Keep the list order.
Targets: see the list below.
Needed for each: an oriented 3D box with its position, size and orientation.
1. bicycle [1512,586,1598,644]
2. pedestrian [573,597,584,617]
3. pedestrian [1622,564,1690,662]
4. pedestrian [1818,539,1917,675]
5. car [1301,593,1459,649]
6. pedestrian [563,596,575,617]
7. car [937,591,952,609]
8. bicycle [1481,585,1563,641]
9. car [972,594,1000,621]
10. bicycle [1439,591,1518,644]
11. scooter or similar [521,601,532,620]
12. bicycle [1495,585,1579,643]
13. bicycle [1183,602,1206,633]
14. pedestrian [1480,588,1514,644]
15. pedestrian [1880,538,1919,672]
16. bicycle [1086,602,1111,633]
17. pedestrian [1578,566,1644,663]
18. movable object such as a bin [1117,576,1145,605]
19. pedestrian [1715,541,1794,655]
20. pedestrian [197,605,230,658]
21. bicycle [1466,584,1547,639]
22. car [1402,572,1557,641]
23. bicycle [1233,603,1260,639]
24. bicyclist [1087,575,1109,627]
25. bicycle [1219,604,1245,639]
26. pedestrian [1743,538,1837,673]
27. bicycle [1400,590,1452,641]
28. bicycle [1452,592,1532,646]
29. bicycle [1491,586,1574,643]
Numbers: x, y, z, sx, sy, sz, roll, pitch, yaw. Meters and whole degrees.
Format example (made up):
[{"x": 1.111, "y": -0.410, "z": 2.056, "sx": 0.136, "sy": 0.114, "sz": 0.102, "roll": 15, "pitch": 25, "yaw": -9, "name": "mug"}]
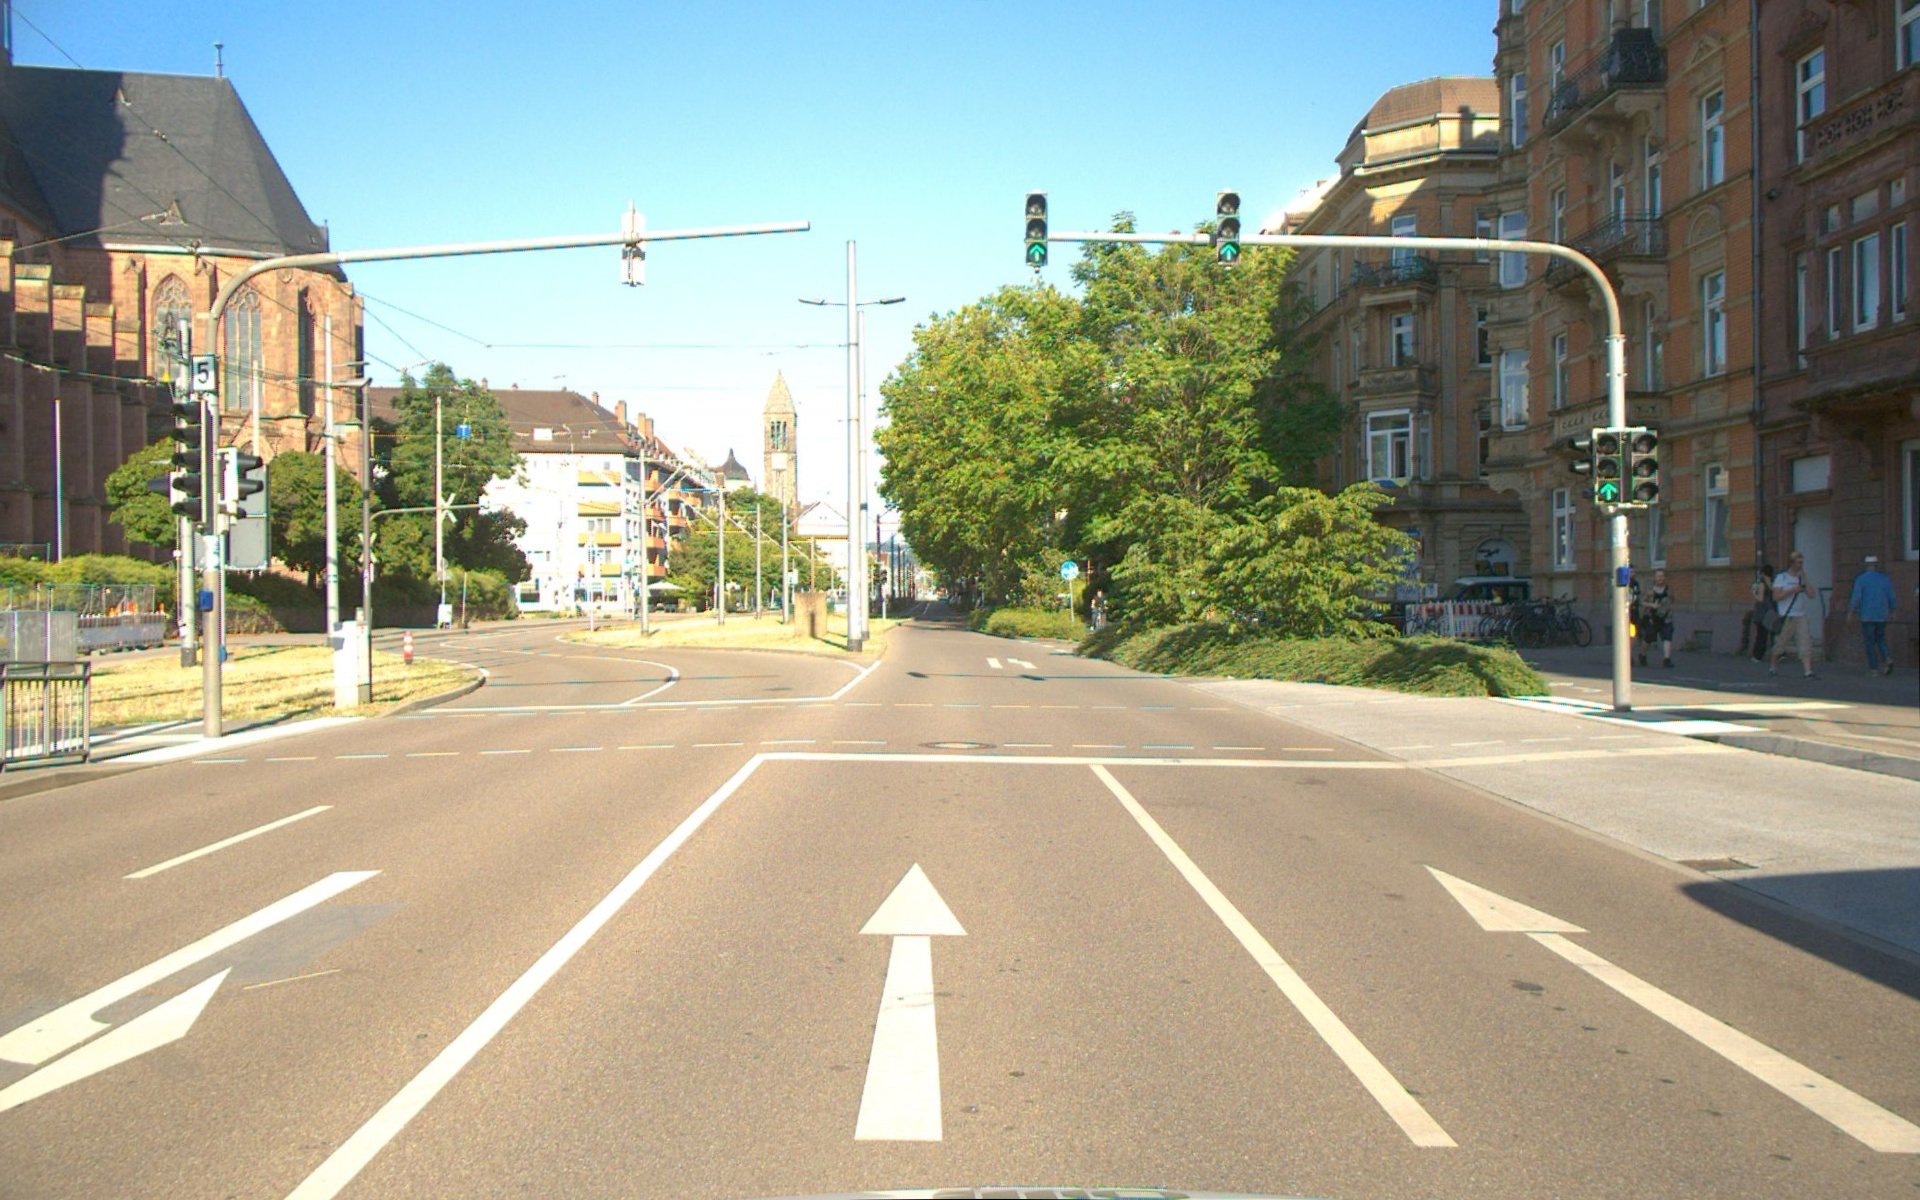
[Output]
[{"x": 13.633, "y": 0.348, "z": 37.911, "sx": 1.851, "sy": 1.260, "sz": 0.489, "roll": -2, "pitch": -1, "yaw": -14, "name": "bicycle"}, {"x": -29.762, "y": 0.537, "z": 129.003, "sx": 0.577, "sy": 1.493, "sz": 0.916, "roll": -2, "pitch": 3, "yaw": -1, "name": "pedestrian"}, {"x": 12.354, "y": 0.222, "z": 29.399, "sx": 0.688, "sy": 1.685, "sz": 1.136, "roll": -1, "pitch": 0, "yaw": -1, "name": "pedestrian"}, {"x": 13.506, "y": 0.102, "z": 24.651, "sx": 0.805, "sy": 1.964, "sz": 1.136, "roll": -1, "pitch": 0, "yaw": -1, "name": "pedestrian"}, {"x": 12.293, "y": 0.597, "z": 48.536, "sx": 4.165, "sy": 1.440, "sz": 1.813, "roll": -1, "pitch": 3, "yaw": -1, "name": "car"}, {"x": -30.504, "y": 0.507, "z": 128.988, "sx": 0.630, "sy": 1.626, "sz": 0.898, "roll": -2, "pitch": 3, "yaw": -1, "name": "pedestrian"}, {"x": -1.986, "y": 0.018, "z": 212.400, "sx": 1.953, "sy": 2.144, "sz": 3.999, "roll": 1, "pitch": -1, "yaw": 0, "name": "car"}, {"x": 13.475, "y": 0.308, "z": 39.652, "sx": 1.851, "sy": 1.260, "sz": 0.489, "roll": -2, "pitch": -1, "yaw": -14, "name": "bicycle"}, {"x": 1.623, "y": 0.460, "z": 102.878, "sx": 1.610, "sy": 1.537, "sz": 4.182, "roll": -2, "pitch": 0, "yaw": 0, "name": "car"}, {"x": 12.925, "y": 0.434, "z": 41.248, "sx": 1.851, "sy": 1.260, "sz": 0.489, "roll": -2, "pitch": -1, "yaw": -14, "name": "bicycle"}, {"x": -31.540, "y": 0.748, "z": 120.377, "sx": 0.393, "sy": 1.283, "sz": 1.231, "roll": -2, "pitch": 3, "yaw": 0, "name": "scooter or similar"}, {"x": 13.414, "y": 0.327, "z": 38.446, "sx": 1.851, "sy": 1.260, "sz": 0.489, "roll": -2, "pitch": -1, "yaw": -14, "name": "bicycle"}, {"x": 8.480, "y": 0.639, "z": 59.801, "sx": 0.515, "sy": 1.005, "sz": 1.722, "roll": -2, "pitch": 3, "yaw": -2, "name": "bicycle"}, {"x": 15.169, "y": 0.447, "z": 46.701, "sx": 0.690, "sy": 1.561, "sz": 0.658, "roll": -1, "pitch": 0, "yaw": 40, "name": "pedestrian"}, {"x": 14.448, "y": 0.072, "z": 24.654, "sx": 0.805, "sy": 1.964, "sz": 1.136, "roll": -1, "pitch": 0, "yaw": -1, "name": "pedestrian"}, {"x": 4.947, "y": 0.640, "z": 59.158, "sx": 0.628, "sy": 1.066, "sz": 2.359, "roll": -2, "pitch": -1, "yaw": -2, "name": "bicycle"}, {"x": 11.570, "y": 0.245, "z": 29.415, "sx": 0.688, "sy": 1.685, "sz": 1.136, "roll": -1, "pitch": 0, "yaw": -1, "name": "pedestrian"}, {"x": 8.671, "y": -0.481, "z": 84.060, "sx": 1.207, "sy": 1.406, "sz": 1.257, "roll": -2, "pitch": 0, "yaw": -2, "name": "movable object such as a bin"}, {"x": 13.979, "y": -0.035, "z": 29.142, "sx": 0.805, "sy": 1.964, "sz": 1.136, "roll": -1, "pitch": 0, "yaw": -1, "name": "pedestrian"}, {"x": -26.231, "y": 1.096, "z": 58.122, "sx": 0.713, "sy": 1.804, "sz": 0.863, "roll": -2, "pitch": 3, "yaw": -4, "name": "pedestrian"}, {"x": 13.258, "y": 0.272, "z": 40.123, "sx": 1.851, "sy": 1.260, "sz": 0.489, "roll": -2, "pitch": -1, "yaw": -14, "name": "bicycle"}, {"x": 16.926, "y": 0.190, "z": 53.995, "sx": 4.485, "sy": 2.161, "sz": 1.775, "roll": 0, "pitch": 3, "yaw": -3, "name": "car"}, {"x": 9.630, "y": 0.691, "z": 55.598, "sx": 0.507, "sy": 1.066, "sz": 1.821, "roll": -2, "pitch": 3, "yaw": -2, "name": "bicycle"}, {"x": 4.933, "y": 0.048, "z": 59.064, "sx": 0.628, "sy": 1.846, "sz": 1.052, "roll": -2, "pitch": -1, "yaw": -2, "name": "bicyclist"}, {"x": 9.129, "y": 0.708, "z": 55.585, "sx": 0.507, "sy": 1.066, "sz": 1.821, "roll": -2, "pitch": 3, "yaw": -2, "name": "bicycle"}, {"x": 12.408, "y": 0.079, "z": 24.763, "sx": 0.805, "sy": 1.964, "sz": 1.136, "roll": -1, "pitch": 0, "yaw": -1, "name": "pedestrian"}, {"x": 11.917, "y": 0.410, "z": 42.327, "sx": 0.480, "sy": 1.260, "sz": 1.885, "roll": -2, "pitch": -1, "yaw": -10, "name": "bicycle"}, {"x": 13.077, "y": 0.460, "z": 40.666, "sx": 1.851, "sy": 1.260, "sz": 0.489, "roll": -2, "pitch": -1, "yaw": -14, "name": "bicycle"}, {"x": 13.517, "y": 0.339, "z": 39.065, "sx": 1.851, "sy": 1.260, "sz": 0.489, "roll": -2, "pitch": -1, "yaw": -14, "name": "bicycle"}]
